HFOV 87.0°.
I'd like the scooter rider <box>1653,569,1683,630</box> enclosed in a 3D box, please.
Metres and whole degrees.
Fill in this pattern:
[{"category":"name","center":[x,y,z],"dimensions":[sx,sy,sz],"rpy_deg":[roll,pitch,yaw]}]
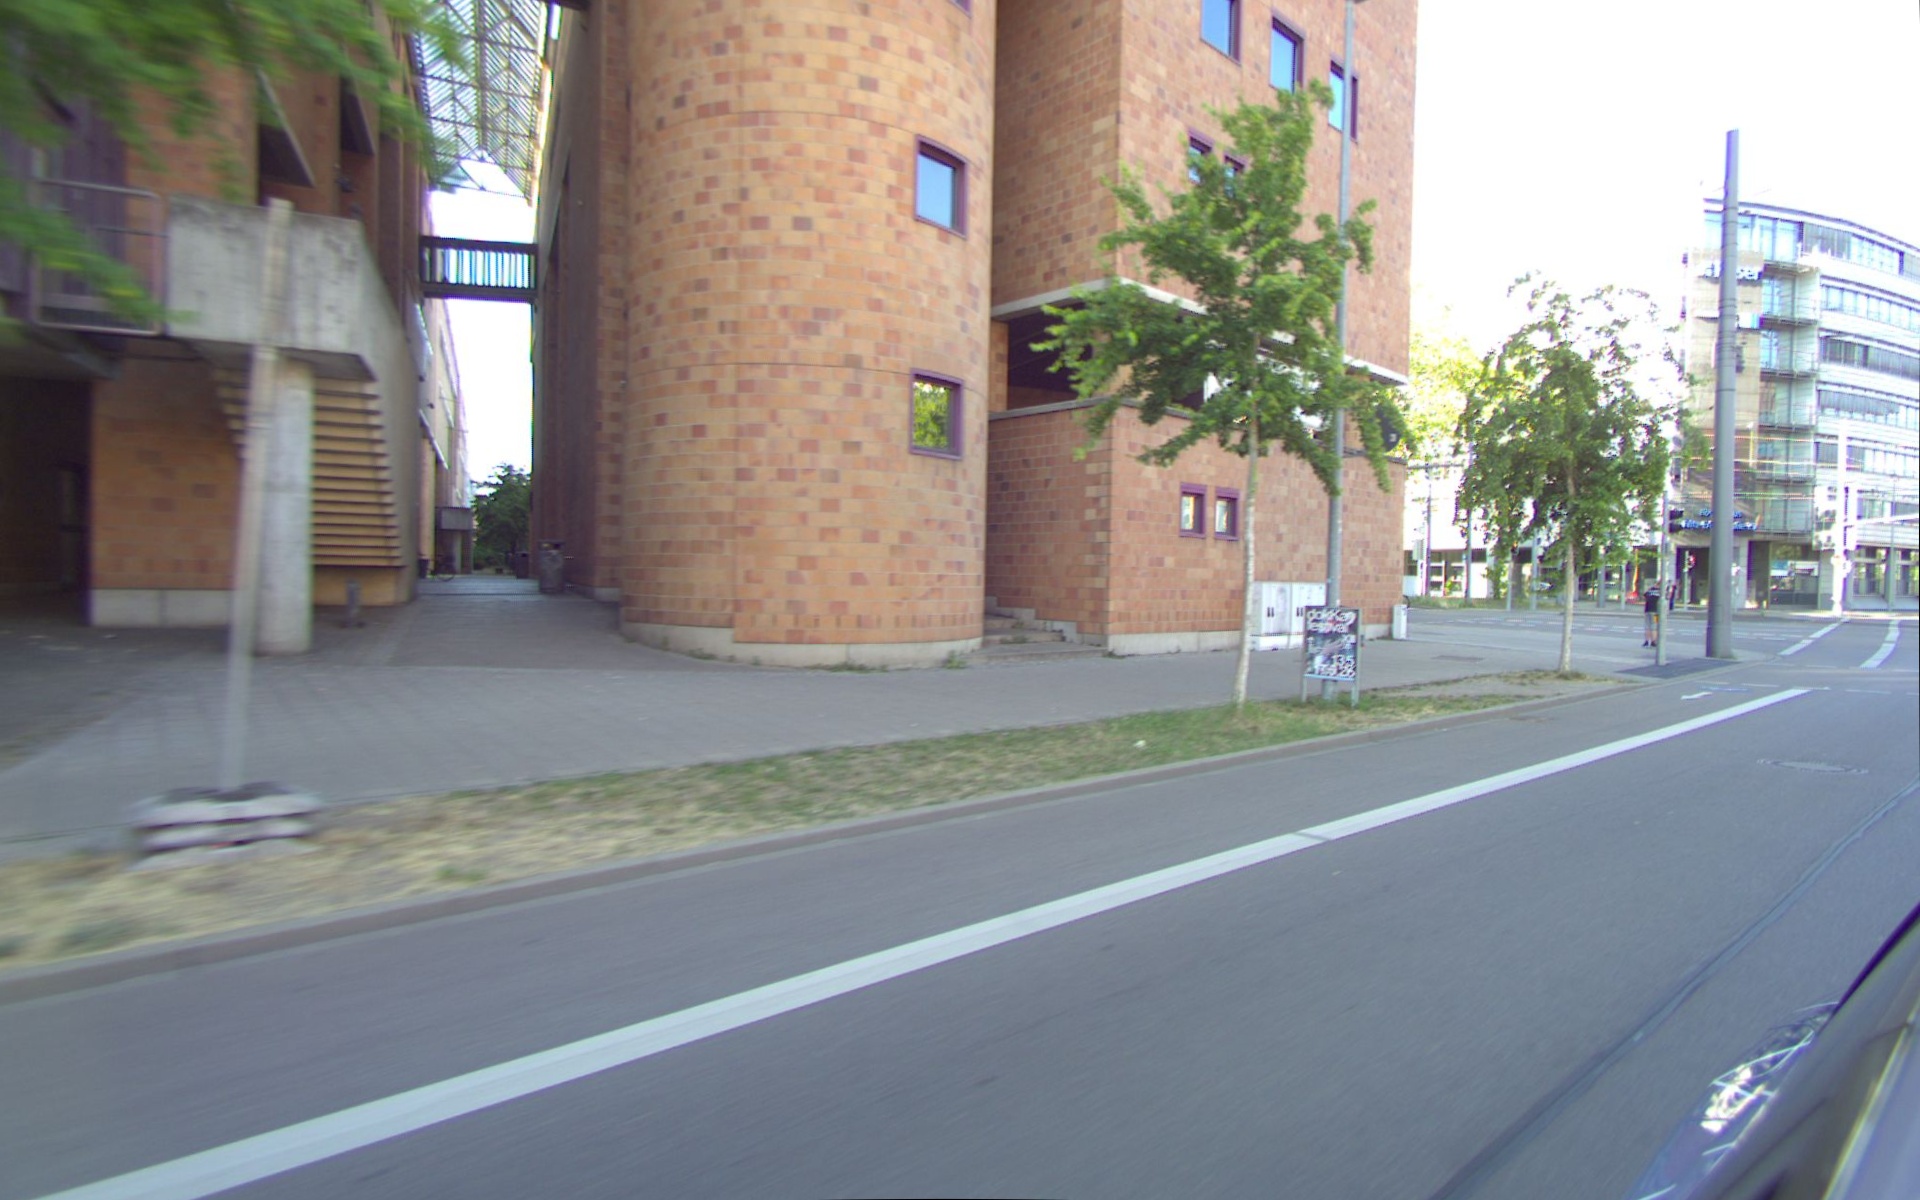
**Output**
[{"category":"scooter rider","center":[17.626,-0.017,25.195],"dimensions":[0.506,1.479,0.711],"rpy_deg":[2,2,42]}]

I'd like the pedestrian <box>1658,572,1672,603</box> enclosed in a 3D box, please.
[{"category":"pedestrian","center":[41.776,-0.746,59.964],"dimensions":[0.586,1.846,0.537],"rpy_deg":[2,2,38]}]

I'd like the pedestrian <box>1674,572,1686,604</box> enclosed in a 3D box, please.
[{"category":"pedestrian","center":[42.348,-0.719,59.500],"dimensions":[0.544,1.846,0.369],"rpy_deg":[2,2,38]}]

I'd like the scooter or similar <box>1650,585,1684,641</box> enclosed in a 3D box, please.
[{"category":"scooter or similar","center":[17.544,0.304,25.117],"dimensions":[0.527,1.334,1.115],"rpy_deg":[2,2,42]}]
